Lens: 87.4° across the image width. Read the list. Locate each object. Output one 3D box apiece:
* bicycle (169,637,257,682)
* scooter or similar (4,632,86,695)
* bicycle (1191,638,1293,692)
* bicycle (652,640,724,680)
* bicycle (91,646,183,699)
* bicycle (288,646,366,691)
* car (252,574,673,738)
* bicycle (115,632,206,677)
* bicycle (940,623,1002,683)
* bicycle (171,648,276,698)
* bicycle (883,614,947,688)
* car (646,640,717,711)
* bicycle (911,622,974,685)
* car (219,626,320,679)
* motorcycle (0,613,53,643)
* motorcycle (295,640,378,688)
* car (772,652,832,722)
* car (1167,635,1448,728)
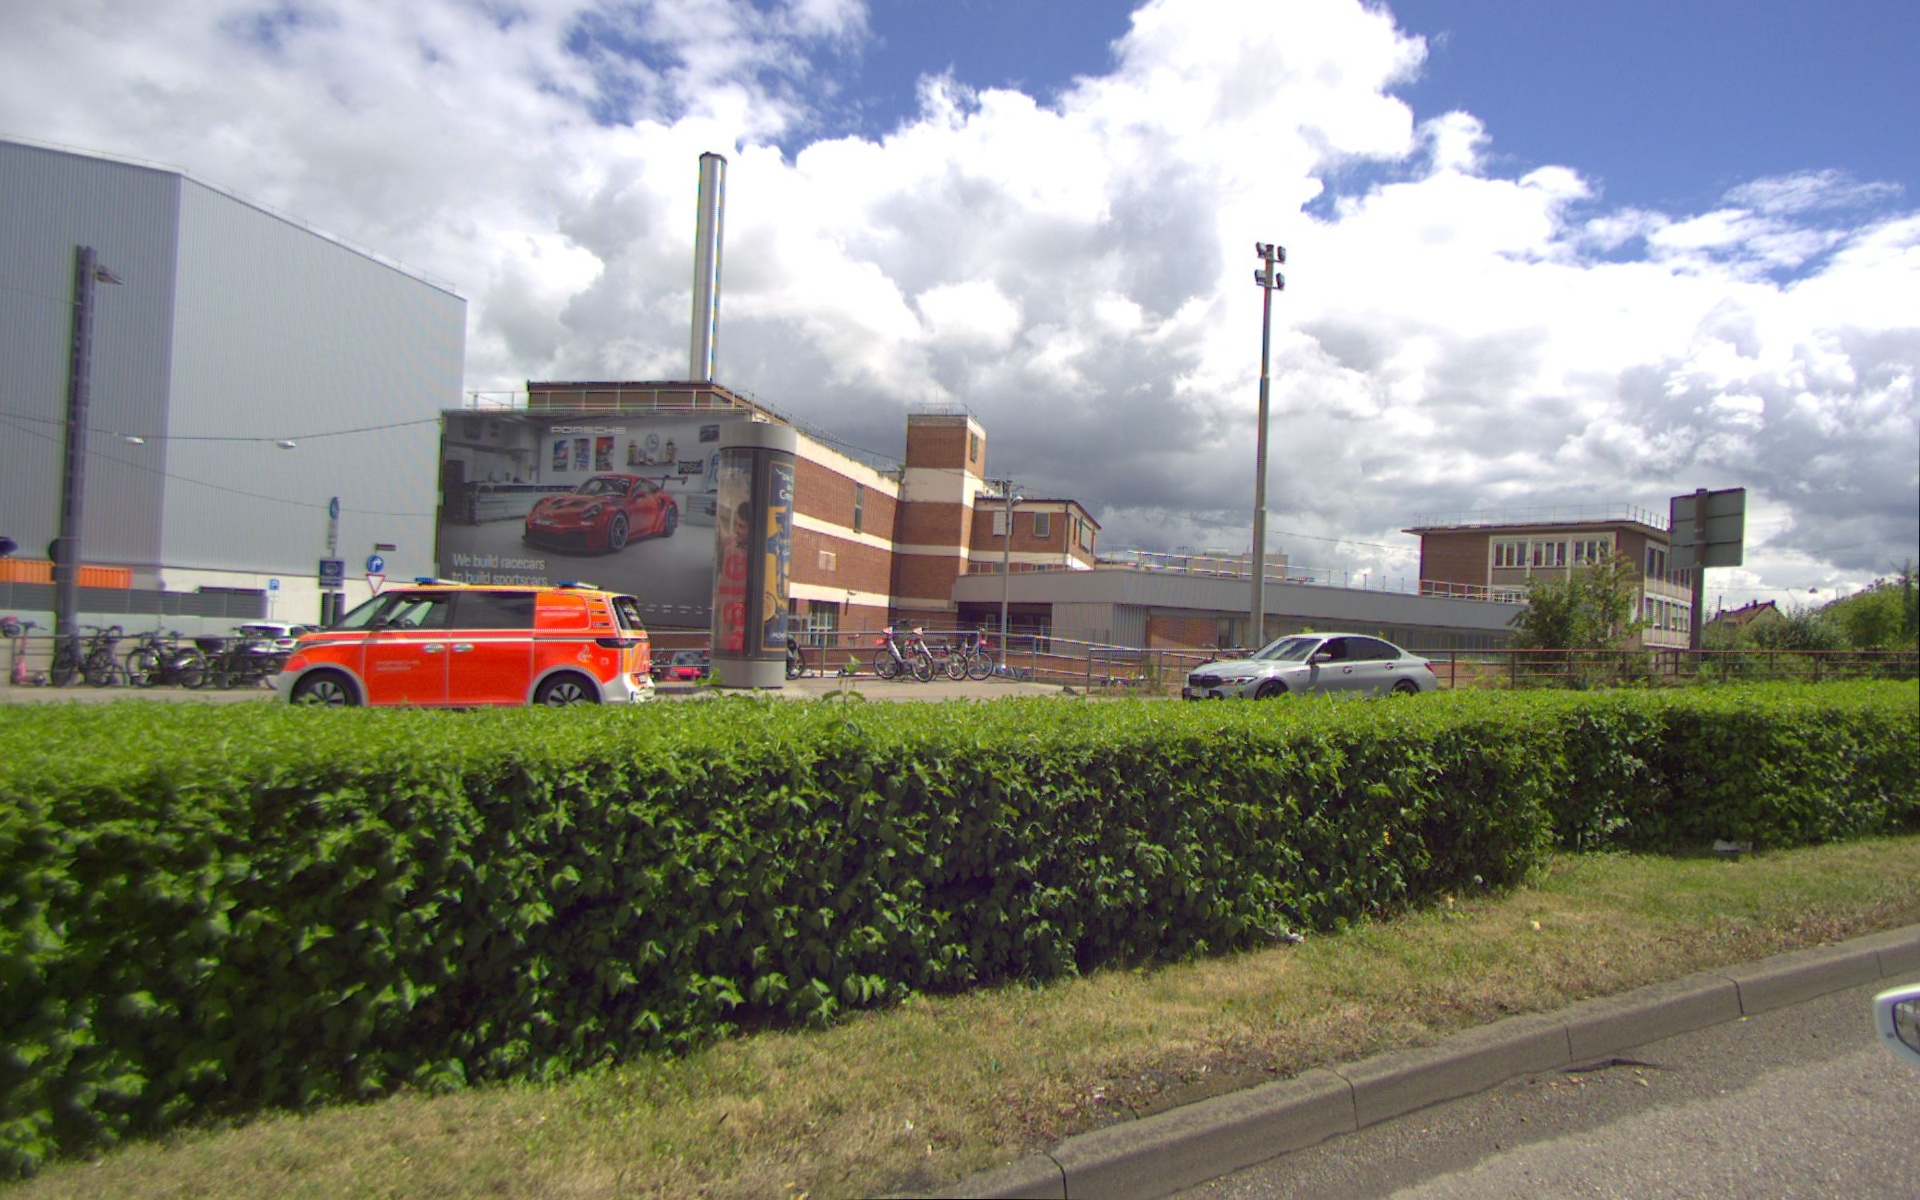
[{"bbox_3d":[-16.175,1.270,21.793,0.483,0.878,1.612,4,0,10],"label":"bicycle"},{"bbox_3d":[-17.902,1.238,19.645,1.600,1.197,0.502,-1,-2,21],"label":"scooter or similar"},{"bbox_3d":[6.036,1.375,21.441,2.262,1.086,0.451,1,1,-22],"label":"bicycle"},{"bbox_3d":[-6.292,1.383,23.271,1.583,0.878,0.491,1,-1,-14],"label":"bicycle"},{"bbox_3d":[-15.133,1.324,18.470,1.578,0.878,0.493,1,-1,16],"label":"bicycle"},{"bbox_3d":[-13.531,1.460,21.478,1.579,0.878,0.493,1,-1,18],"label":"bicycle"},{"bbox_3d":[-6.605,0.777,13.899,4.748,2.009,1.998,2,-2,-8],"label":"car"},{"bbox_3d":[-17.513,1.174,22.040,0.483,0.878,1.612,4,0,10],"label":"bicycle"},{"bbox_3d":[0.224,1.155,22.321,0.661,1.198,1.732,2,1,-25],"label":"bicycle"},{"bbox_3d":[-13.337,1.320,18.196,1.578,0.878,0.493,0,0,3],"label":"bicycle"},{"bbox_3d":[-0.970,1.053,21.055,0.661,1.399,1.732,4,0,-25],"label":"bicycle"},{"bbox_3d":[-8.537,2.273,31.018,1.601,1.808,3.478,4,0,-9],"label":"car"},{"bbox_3d":[-0.408,1.129,21.777,0.661,1.198,1.730,-2,3,-27],"label":"bicycle"},{"bbox_3d":[-21.679,1.622,31.689,1.758,1.368,3.339,4,0,-20],"label":"car"},{"bbox_3d":[-41.823,1.246,44.151,0.935,1.245,2.753,4,-1,16],"label":"motorcycle"},{"bbox_3d":[-19.015,1.914,30.746,0.903,1.211,2.910,4,0,-6],"label":"motorcycle"},{"bbox_3d":[-4.979,2.708,31.980,1.673,1.827,3.478,4,0,-8],"label":"car"},{"bbox_3d":[5.990,1.330,17.261,4.608,1.416,1.751,1,-3,-24],"label":"car"}]
